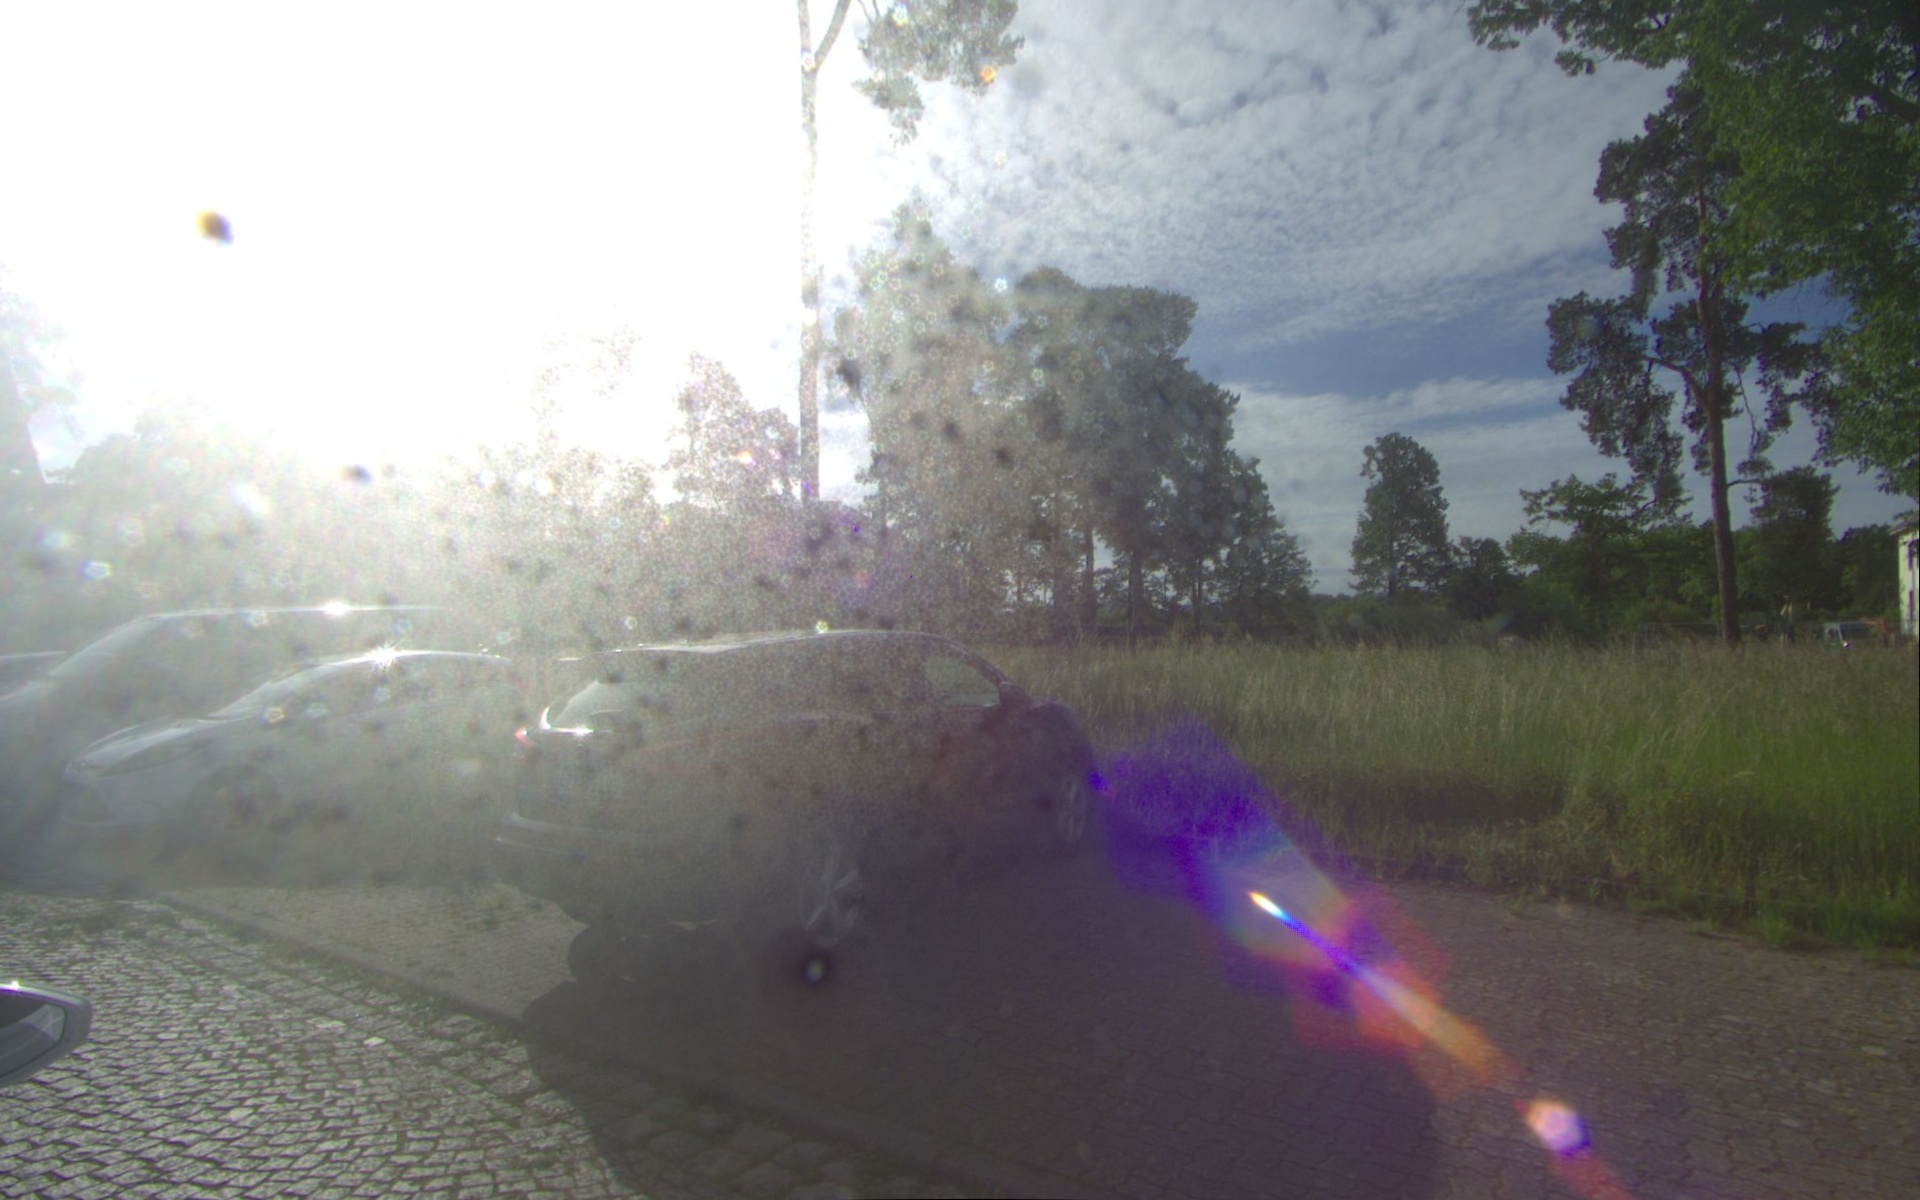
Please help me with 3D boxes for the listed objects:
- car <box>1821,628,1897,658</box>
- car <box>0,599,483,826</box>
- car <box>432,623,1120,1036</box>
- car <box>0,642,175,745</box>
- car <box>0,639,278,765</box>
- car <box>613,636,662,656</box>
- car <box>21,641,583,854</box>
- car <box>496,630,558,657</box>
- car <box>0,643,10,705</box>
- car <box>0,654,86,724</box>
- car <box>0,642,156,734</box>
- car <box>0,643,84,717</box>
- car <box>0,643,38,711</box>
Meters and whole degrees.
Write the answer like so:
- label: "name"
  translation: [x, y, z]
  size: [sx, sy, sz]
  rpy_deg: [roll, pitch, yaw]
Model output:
- label: "car"
  translation: [63.693, 3.046, 71.067]
  size: [2.592, 2.039, 5.646]
  rpy_deg: [-2, -3, 27]
- label: "car"
  translation: [-8.045, 1.012, 11.001]
  size: [1.965, 1.954, 4.722]
  rpy_deg: [-2, -1, 33]
- label: "car"
  translation: [-0.716, 0.979, 6.226]
  size: [1.852, 1.609, 4.182]
  rpy_deg: [-2, -2, 33]
- label: "car"
  translation: [-14.816, 1.438, 15.432]
  size: [1.806, 1.486, 3.941]
  rpy_deg: [-2, -2, 34]
- label: "car"
  translation: [-12.240, 1.371, 14.219]
  size: [1.783, 1.550, 3.865]
  rpy_deg: [-2, -2, 34]
- label: "car"
  translation: [-28.523, 4.048, 88.657]
  size: [1.830, 1.700, 3.926]
  rpy_deg: [-2, -3, 32]
- label: "car"
  translation: [-5.964, 1.197, 9.651]
  size: [1.781, 1.488, 4.185]
  rpy_deg: [-2, -2, 30]
- label: "car"
  translation: [-41.934, 4.207, 97.179]
  size: [2.234, 2.567, 5.145]
  rpy_deg: [-2, -3, 35]
- label: "car"
  translation: [-25.155, 1.801, 23.013]
  size: [1.867, 1.492, 4.502]
  rpy_deg: [-2, -2, 30]
- label: "car"
  translation: [-19.186, 1.715, 18.761]
  size: [1.703, 1.277, 3.941]
  rpy_deg: [-2, -2, 34]
- label: "car"
  translation: [-16.847, 1.548, 17.584]
  size: [1.748, 1.514, 3.941]
  rpy_deg: [-2, -2, 34]
- label: "car"
  translation: [-20.911, 1.673, 20.407]
  size: [1.716, 1.492, 4.331]
  rpy_deg: [-2, -2, 33]
- label: "car"
  translation: [-22.949, 1.718, 21.383]
  size: [1.824, 1.492, 4.497]
  rpy_deg: [-2, -2, 33]
